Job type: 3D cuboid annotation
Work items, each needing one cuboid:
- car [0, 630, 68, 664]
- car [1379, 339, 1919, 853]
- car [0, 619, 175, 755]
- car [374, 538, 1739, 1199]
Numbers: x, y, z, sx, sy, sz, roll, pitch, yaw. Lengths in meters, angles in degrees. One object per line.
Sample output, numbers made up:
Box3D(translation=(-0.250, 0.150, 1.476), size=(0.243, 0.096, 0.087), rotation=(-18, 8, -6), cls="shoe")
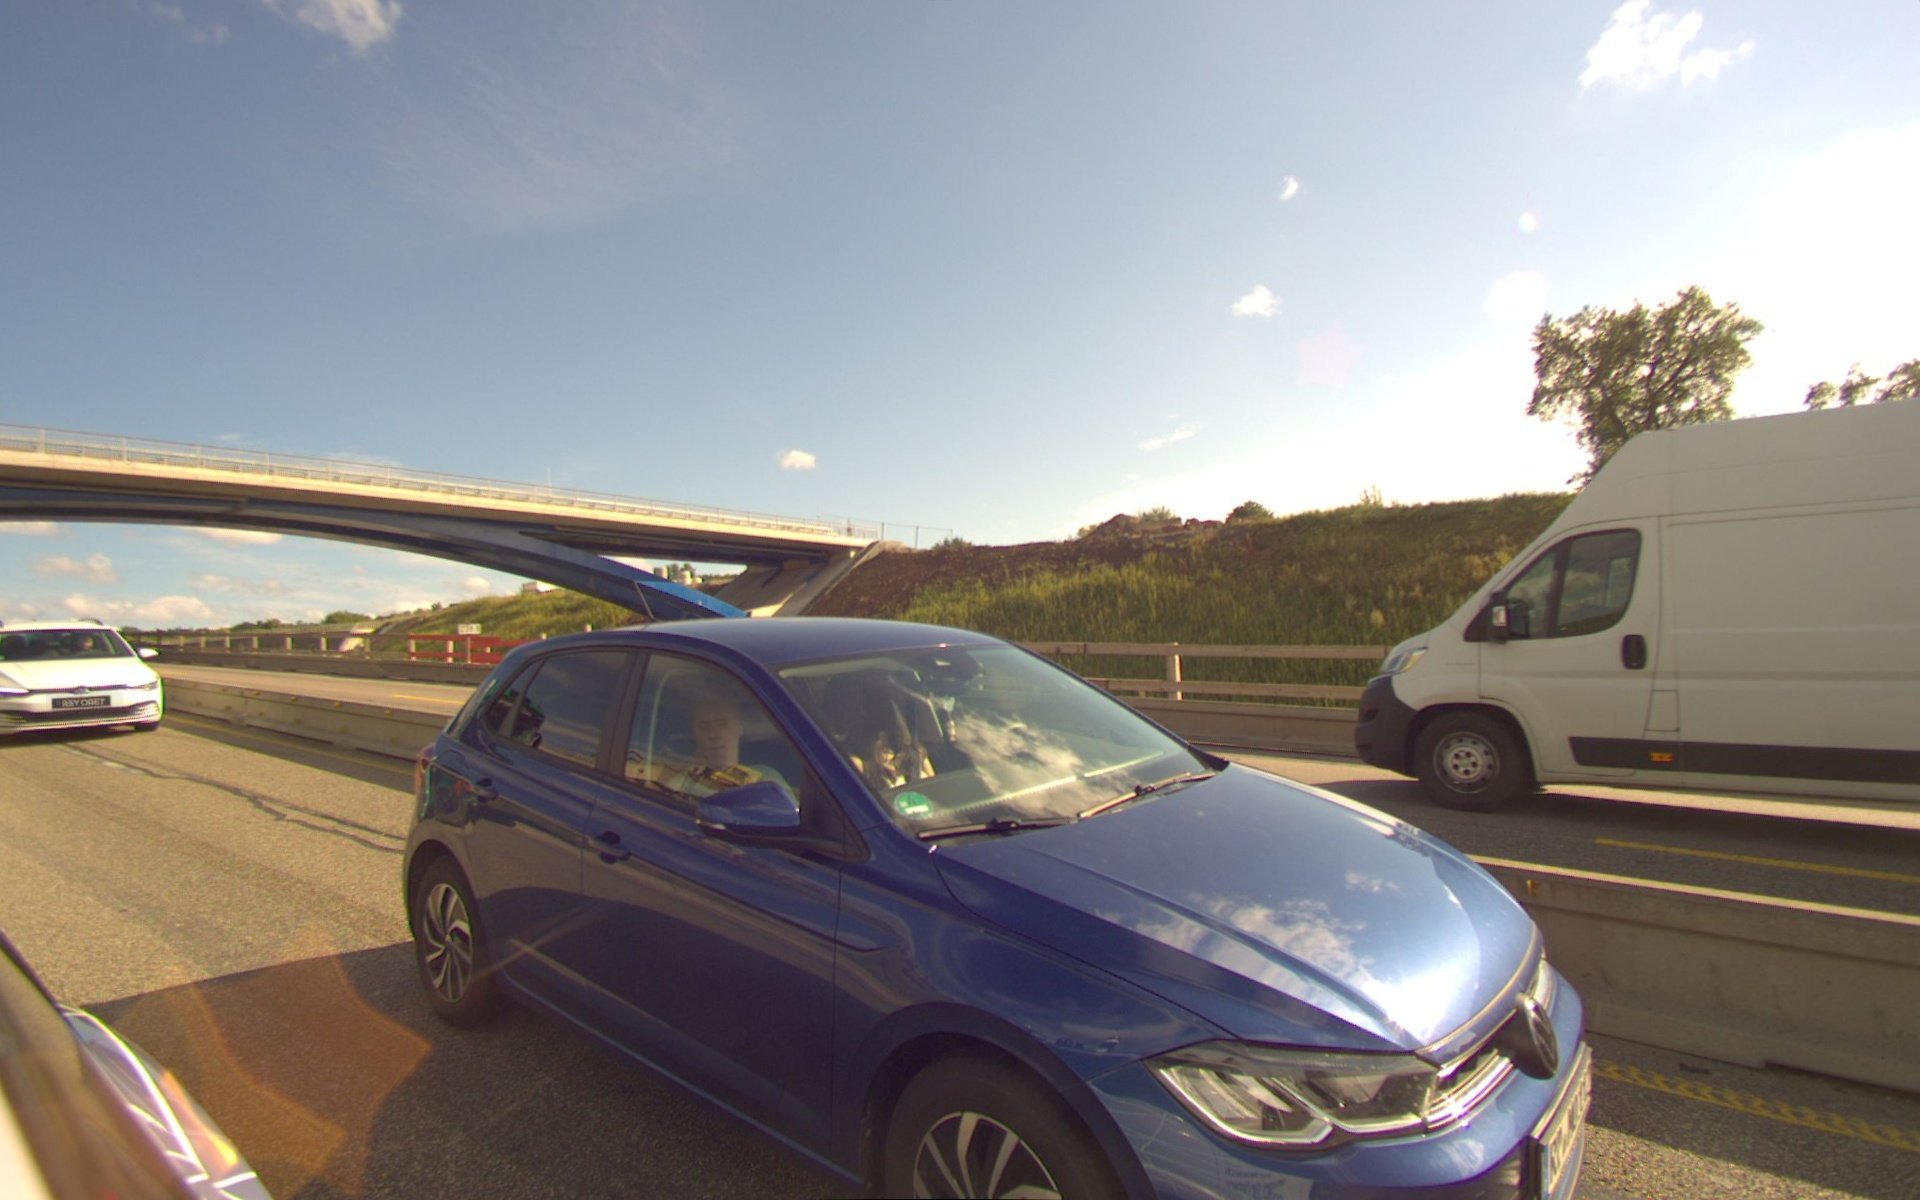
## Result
Box3D(translation=(-42.214, 2.132, 45.992), size=(4.623, 1.436, 1.716), rotation=(-1, -4, 40), cls="car")
Box3D(translation=(6.112, 0.017, 6.327), size=(6.135, 2.857, 2.088), rotation=(-1, -4, 41), cls="car")
Box3D(translation=(-12.019, 1.031, 13.373), size=(4.372, 1.507, 1.802), rotation=(-1, -1, 41), cls="car")
Box3D(translation=(-0.166, 0.718, 3.153), size=(3.998, 1.519, 1.697), rotation=(-1, -1, 41), cls="car")
